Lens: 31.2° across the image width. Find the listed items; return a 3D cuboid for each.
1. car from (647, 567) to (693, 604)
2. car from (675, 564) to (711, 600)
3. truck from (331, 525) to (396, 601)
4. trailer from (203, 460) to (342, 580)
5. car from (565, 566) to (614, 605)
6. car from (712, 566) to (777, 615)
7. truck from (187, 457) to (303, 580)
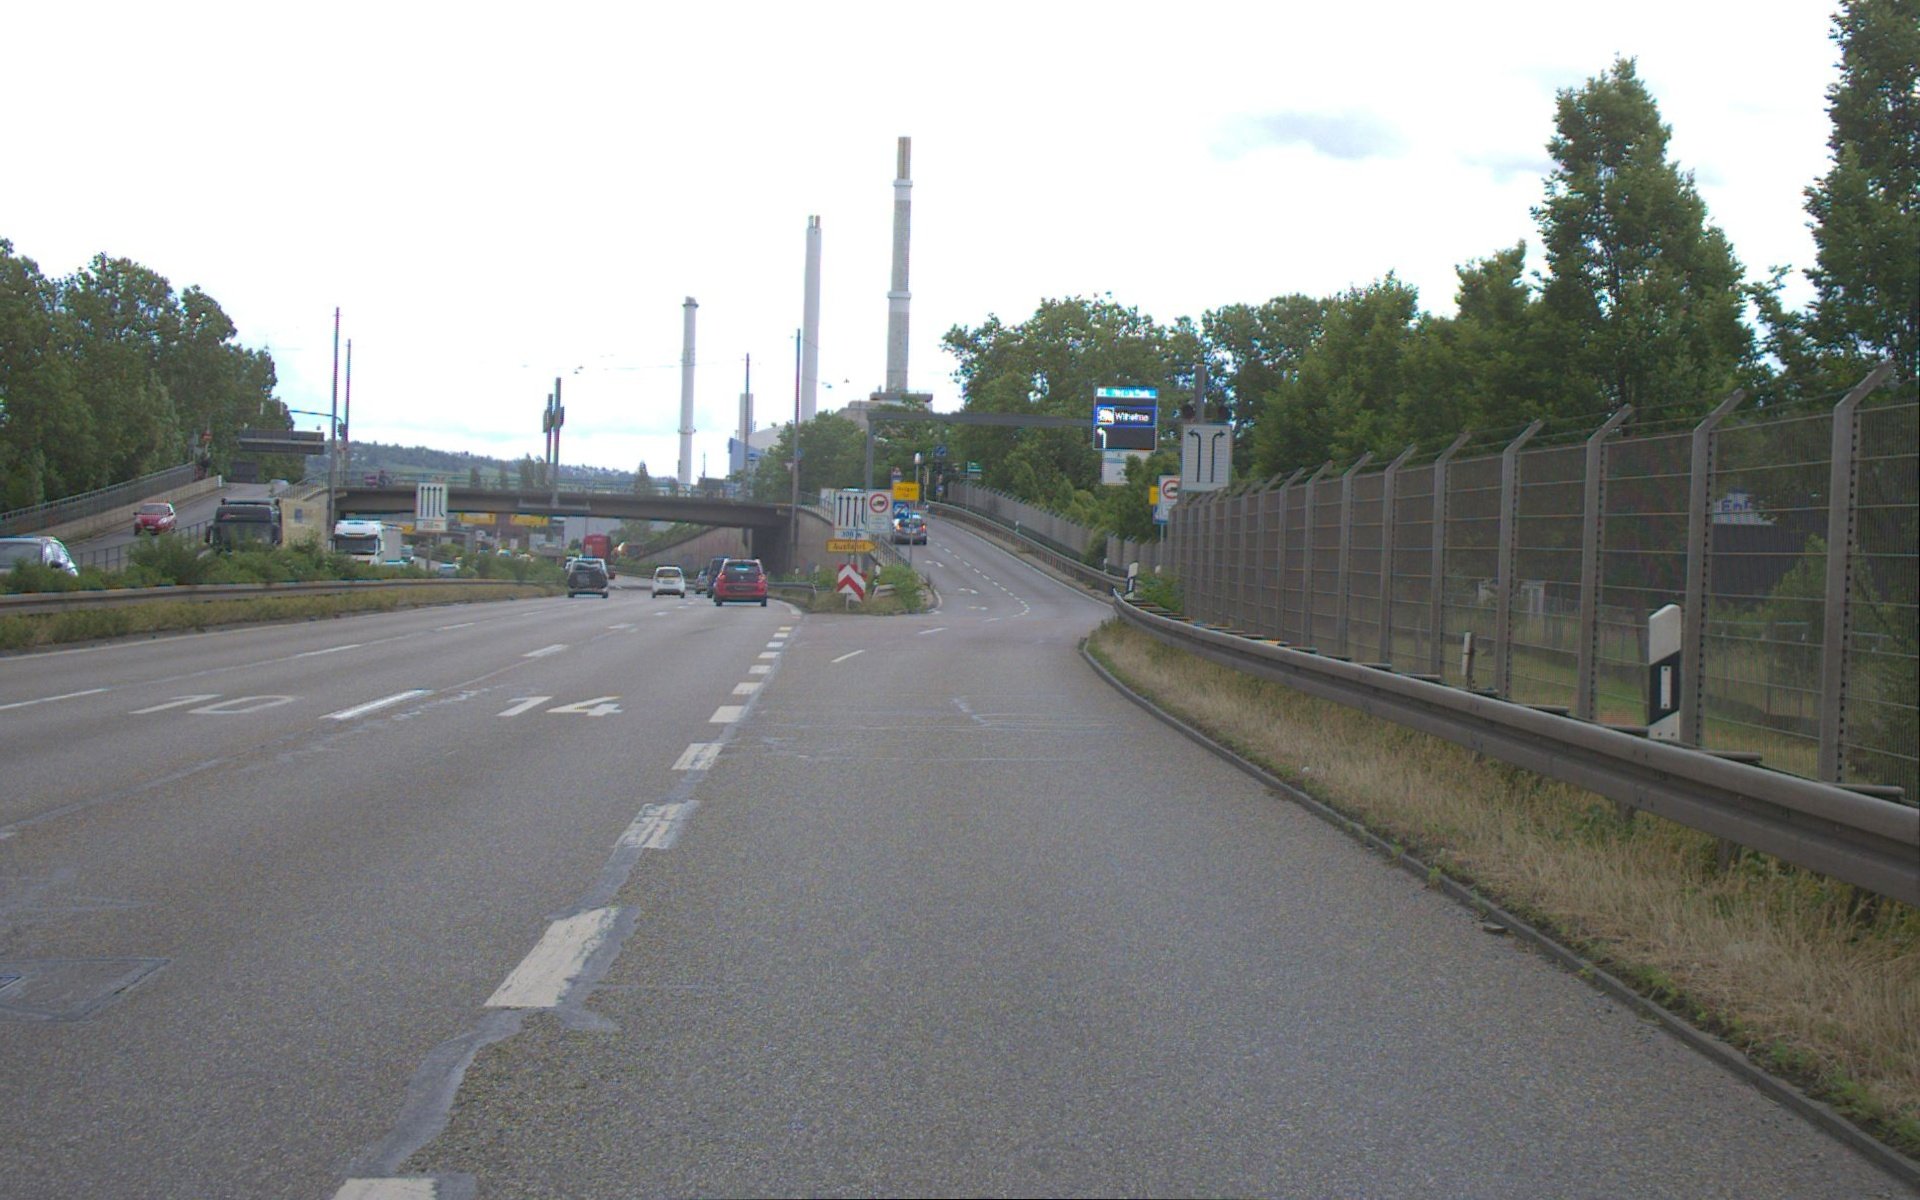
[{"bbox_3d":[-14.243,-0.733,168.927,1.993,1.678,4.001,2,1,-2],"label":"car"},{"bbox_3d":[-16.048,-1.078,206.152,1.917,2.007,4.001,2,1,-7],"label":"car"},{"bbox_3d":[-32.083,-1.966,185.138,2.789,3.924,5.313,2,0,-4],"label":"truck"},{"bbox_3d":[-28.893,-3.260,145.272,3.463,4.657,14.784,2,0,-3],"label":"trailer"},{"bbox_3d":[-17.626,-0.699,163.611,1.993,1.678,4.001,2,1,-2],"label":"car"},{"bbox_3d":[-7.062,-0.323,112.287,1.993,1.415,4.001,2,1,-5],"label":"car"},{"bbox_3d":[-28.487,-3.206,137.245,3.463,4.657,6.212,2,0,-3],"label":"truck"}]
